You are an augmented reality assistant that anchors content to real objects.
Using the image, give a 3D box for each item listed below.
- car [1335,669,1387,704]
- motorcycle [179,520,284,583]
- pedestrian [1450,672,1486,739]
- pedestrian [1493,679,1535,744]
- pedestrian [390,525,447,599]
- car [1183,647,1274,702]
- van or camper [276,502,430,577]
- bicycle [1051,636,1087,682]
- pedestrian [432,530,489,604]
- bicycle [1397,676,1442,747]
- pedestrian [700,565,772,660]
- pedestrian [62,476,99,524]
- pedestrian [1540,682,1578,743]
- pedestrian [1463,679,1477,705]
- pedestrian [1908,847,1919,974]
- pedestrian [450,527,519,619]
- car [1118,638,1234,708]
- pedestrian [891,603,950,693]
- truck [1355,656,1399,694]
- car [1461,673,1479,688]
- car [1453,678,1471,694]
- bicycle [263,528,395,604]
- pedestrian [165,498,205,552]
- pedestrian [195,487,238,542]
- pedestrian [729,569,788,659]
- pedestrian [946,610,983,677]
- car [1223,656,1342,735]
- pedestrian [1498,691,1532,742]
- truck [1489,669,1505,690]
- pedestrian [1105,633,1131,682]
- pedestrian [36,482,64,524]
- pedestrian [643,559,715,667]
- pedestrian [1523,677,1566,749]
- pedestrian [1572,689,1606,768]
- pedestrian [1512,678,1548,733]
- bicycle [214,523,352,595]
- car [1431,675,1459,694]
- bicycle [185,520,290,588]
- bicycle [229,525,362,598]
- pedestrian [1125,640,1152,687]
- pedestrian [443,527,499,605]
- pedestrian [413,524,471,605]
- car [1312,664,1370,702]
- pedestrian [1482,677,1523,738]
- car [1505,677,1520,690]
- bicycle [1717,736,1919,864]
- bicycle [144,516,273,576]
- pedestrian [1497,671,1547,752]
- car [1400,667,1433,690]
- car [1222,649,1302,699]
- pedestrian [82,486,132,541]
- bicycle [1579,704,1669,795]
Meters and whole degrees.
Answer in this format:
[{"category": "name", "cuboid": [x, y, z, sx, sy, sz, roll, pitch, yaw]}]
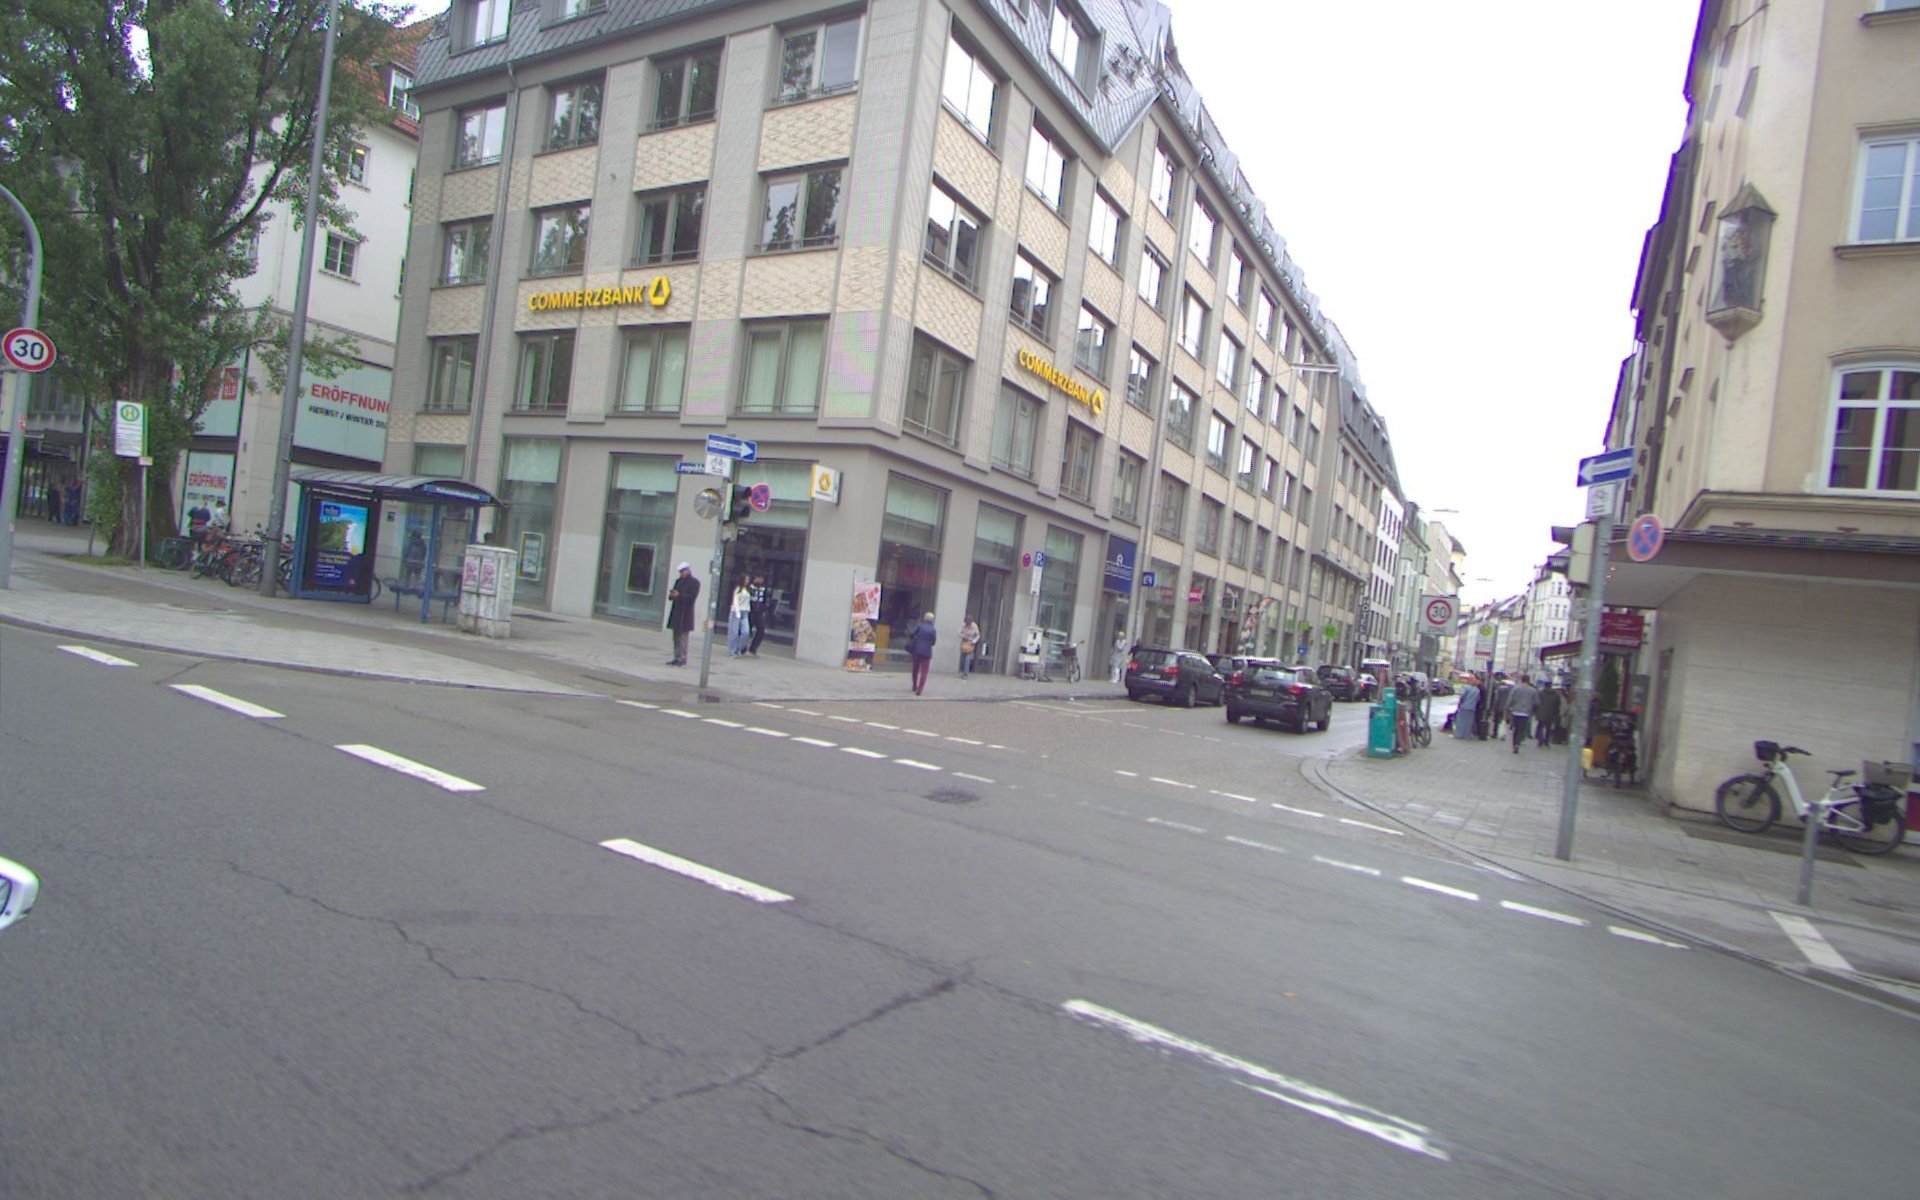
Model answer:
[{"category": "car", "cuboid": [20.622, 4.438, 51.641, 1.730, 1.479, 3.994, 8, -1, 31]}, {"category": "motorcycle", "cuboid": [-16.078, -1.060, 22.238, 0.501, 1.154, 1.726, 8, 0, 32]}, {"category": "pedestrian", "cuboid": [13.301, 2.756, 26.339, 0.576, 1.664, 0.443, 7, -1, 40]}, {"category": "pedestrian", "cuboid": [15.133, 3.037, 27.477, 0.805, 1.628, 0.867, 7, -1, 32]}, {"category": "pedestrian", "cuboid": [-13.616, -0.958, 25.305, 0.947, 1.698, 0.750, 8, 1, 32]}, {"category": "car", "cuboid": [8.786, 2.435, 32.749, 1.730, 1.479, 3.692, 8, 0, 32]}, {"category": "van or camper", "cuboid": [-21.254, -2.091, 35.372, 1.868, 1.888, 4.109, 7, -2, 35]}, {"category": "bicycle", "cuboid": [3.158, 1.702, 28.983, 0.440, 1.227, 1.744, 7, 0, 21]}, {"category": "pedestrian", "cuboid": [-12.766, -0.849, 25.717, 0.947, 1.739, 0.751, 8, 0, 32]}, {"category": "bicycle", "cuboid": [9.761, 2.351, 21.343, 0.473, 1.403, 1.830, 8, 0, 32]}, {"category": "pedestrian", "cuboid": [-4.588, 0.255, 20.597, 1.000, 1.780, 0.751, 8, 1, 32]}, {"category": "pedestrian", "cuboid": [-36.736, -4.148, 42.034, 0.863, 1.851, 0.828, 7, 1, -31]}, {"category": "pedestrian", "cuboid": [18.159, 3.415, 30.499, 0.805, 1.716, 0.867, 7, -1, 32]}, {"category": "pedestrian", "cuboid": [33.321, 6.008, 65.709, 0.573, 1.571, 0.669, 8, 1, 31]}, {"category": "pedestrian", "cuboid": [6.860, 1.754, 6.534, 0.757, 1.536, 0.618, 6, 0, -15]}, {"category": "pedestrian", "cuboid": [-10.316, -0.577, 21.833, 0.875, 1.840, 0.819, 8, 0, 29]}, {"category": "car", "cuboid": [6.047, 2.038, 27.876, 1.730, 1.568, 3.992, 8, 0, 32]}, {"category": "pedestrian", "cuboid": [-0.762, 0.934, 19.653, 0.722, 1.657, 0.750, 5, 1, 33]}, {"category": "truck", "cuboid": [25.494, 4.578, 61.397, 1.730, 2.006, 3.993, 8, 0, 31]}, {"category": "car", "cuboid": [60.532, 9.548, 119.328, 1.556, 1.529, 3.201, 8, 0, 30]}, {"category": "car", "cuboid": [56.592, 9.729, 113.426, 1.556, 1.529, 3.201, 8, 0, 30]}, {"category": "bicycle", "cuboid": [-13.203, -0.699, 21.104, 2.226, 1.268, 0.472, 8, 0, -35]}, {"category": "pedestrian", "cuboid": [-26.360, -2.540, 34.204, 0.947, 1.683, 0.653, 7, 1, 31]}, {"category": "pedestrian", "cuboid": [-25.852, -2.970, 34.966, 0.947, 1.739, 0.751, 8, 1, 31]}, {"category": "pedestrian", "cuboid": [-4.257, 0.304, 21.292, 0.699, 1.779, 0.751, 8, 0, 32]}, {"category": "pedestrian", "cuboid": [0.112, 1.068, 24.413, 0.574, 1.550, 0.444, 7, 1, 28]}, {"category": "car", "cuboid": [7.729, 2.242, 23.911, 1.729, 1.479, 3.993, 8, 0, 30]}, {"category": "pedestrian", "cuboid": [19.156, 4.010, 34.714, 0.805, 1.628, 0.867, 7, -1, 32]}, {"category": "truck", "cuboid": [87.736, 13.045, 164.329, 1.961, 3.037, 5.480, 8, 0, 30]}, {"category": "pedestrian", "cuboid": [5.178, 1.875, 33.018, 0.573, 1.539, 0.445, 7, 1, 22]}, {"category": "pedestrian", "cuboid": [-37.837, -4.035, 41.819, 0.759, 1.631, 0.669, 9, 4, 38]}, {"category": "pedestrian", "cuboid": [-4.925, 0.237, 17.626, 0.740, 1.779, 0.709, 8, 1, 32]}, {"category": "pedestrian", "cuboid": [15.667, 3.013, 26.961, 0.805, 1.789, 0.867, 7, -1, 32]}, {"category": "pedestrian", "cuboid": [13.306, 2.711, 21.291, 0.437, 1.576, 0.583, 7, -1, 32]}, {"category": "pedestrian", "cuboid": [18.504, 3.428, 32.644, 0.805, 1.628, 0.867, 7, -1, 32]}, {"category": "bicycle", "cuboid": [-14.731, -0.861, 21.975, 0.622, 1.267, 2.347, 8, 0, 30]}, {"category": "car", "cuboid": [44.960, 7.794, 93.224, 1.730, 1.479, 3.692, 8, 0, 32]}, {"category": "bicycle", "cuboid": [-15.659, -0.980, 21.843, 0.442, 1.254, 1.726, 8, 0, 32]}, {"category": "bicycle", "cuboid": [-14.228, -0.797, 21.627, 0.469, 1.267, 2.319, 8, 0, 30]}, {"category": "pedestrian", "cuboid": [5.638, 2.004, 31.814, 0.574, 1.423, 0.444, 7, 1, 28]}, {"category": "pedestrian", "cuboid": [-11.843, -0.819, 24.369, 0.845, 1.779, 0.751, 5, 0, 32]}, {"category": "pedestrian", "cuboid": [-12.148, -0.831, 23.609, 0.845, 1.779, 0.751, 5, 0, 32]}, {"category": "car", "cuboid": [17.929, 3.903, 47.257, 1.730, 1.479, 3.994, 8, -1, 31]}, {"category": "pedestrian", "cuboid": [15.609, 3.089, 28.936, 0.805, 1.628, 0.867, 7, -1, 32]}, {"category": "car", "cuboid": [74.704, 11.311, 136.054, 1.556, 1.529, 3.201, 8, 0, 30]}, {"category": "bicycle", "cuboid": [10.549, 2.425, 12.407, 1.780, 1.184, 0.435, 7, -1, 30]}, {"category": "bicycle", "cuboid": [-17.226, -1.217, 23.114, 0.860, 1.029, 2.152, 8, 0, 31]}, {"category": "pedestrian", "cuboid": [13.208, 2.624, 23.626, 0.666, 1.789, 0.999, 7, -1, 40]}, {"category": "car", "cuboid": [35.266, 6.062, 77.716, 1.730, 1.479, 3.692, 8, 0, 32]}, {"category": "car", "cuboid": [10.975, 2.692, 36.383, 1.730, 1.479, 3.692, 8, 0, 32]}, {"category": "pedestrian", "cuboid": [-28.810, -2.912, 33.987, 0.814, 1.694, 0.983, 7, 1, -18]}, {"category": "bicycle", "cuboid": [11.245, 2.501, 17.143, 0.982, 1.267, 2.977, 7, -2, 30]}]
